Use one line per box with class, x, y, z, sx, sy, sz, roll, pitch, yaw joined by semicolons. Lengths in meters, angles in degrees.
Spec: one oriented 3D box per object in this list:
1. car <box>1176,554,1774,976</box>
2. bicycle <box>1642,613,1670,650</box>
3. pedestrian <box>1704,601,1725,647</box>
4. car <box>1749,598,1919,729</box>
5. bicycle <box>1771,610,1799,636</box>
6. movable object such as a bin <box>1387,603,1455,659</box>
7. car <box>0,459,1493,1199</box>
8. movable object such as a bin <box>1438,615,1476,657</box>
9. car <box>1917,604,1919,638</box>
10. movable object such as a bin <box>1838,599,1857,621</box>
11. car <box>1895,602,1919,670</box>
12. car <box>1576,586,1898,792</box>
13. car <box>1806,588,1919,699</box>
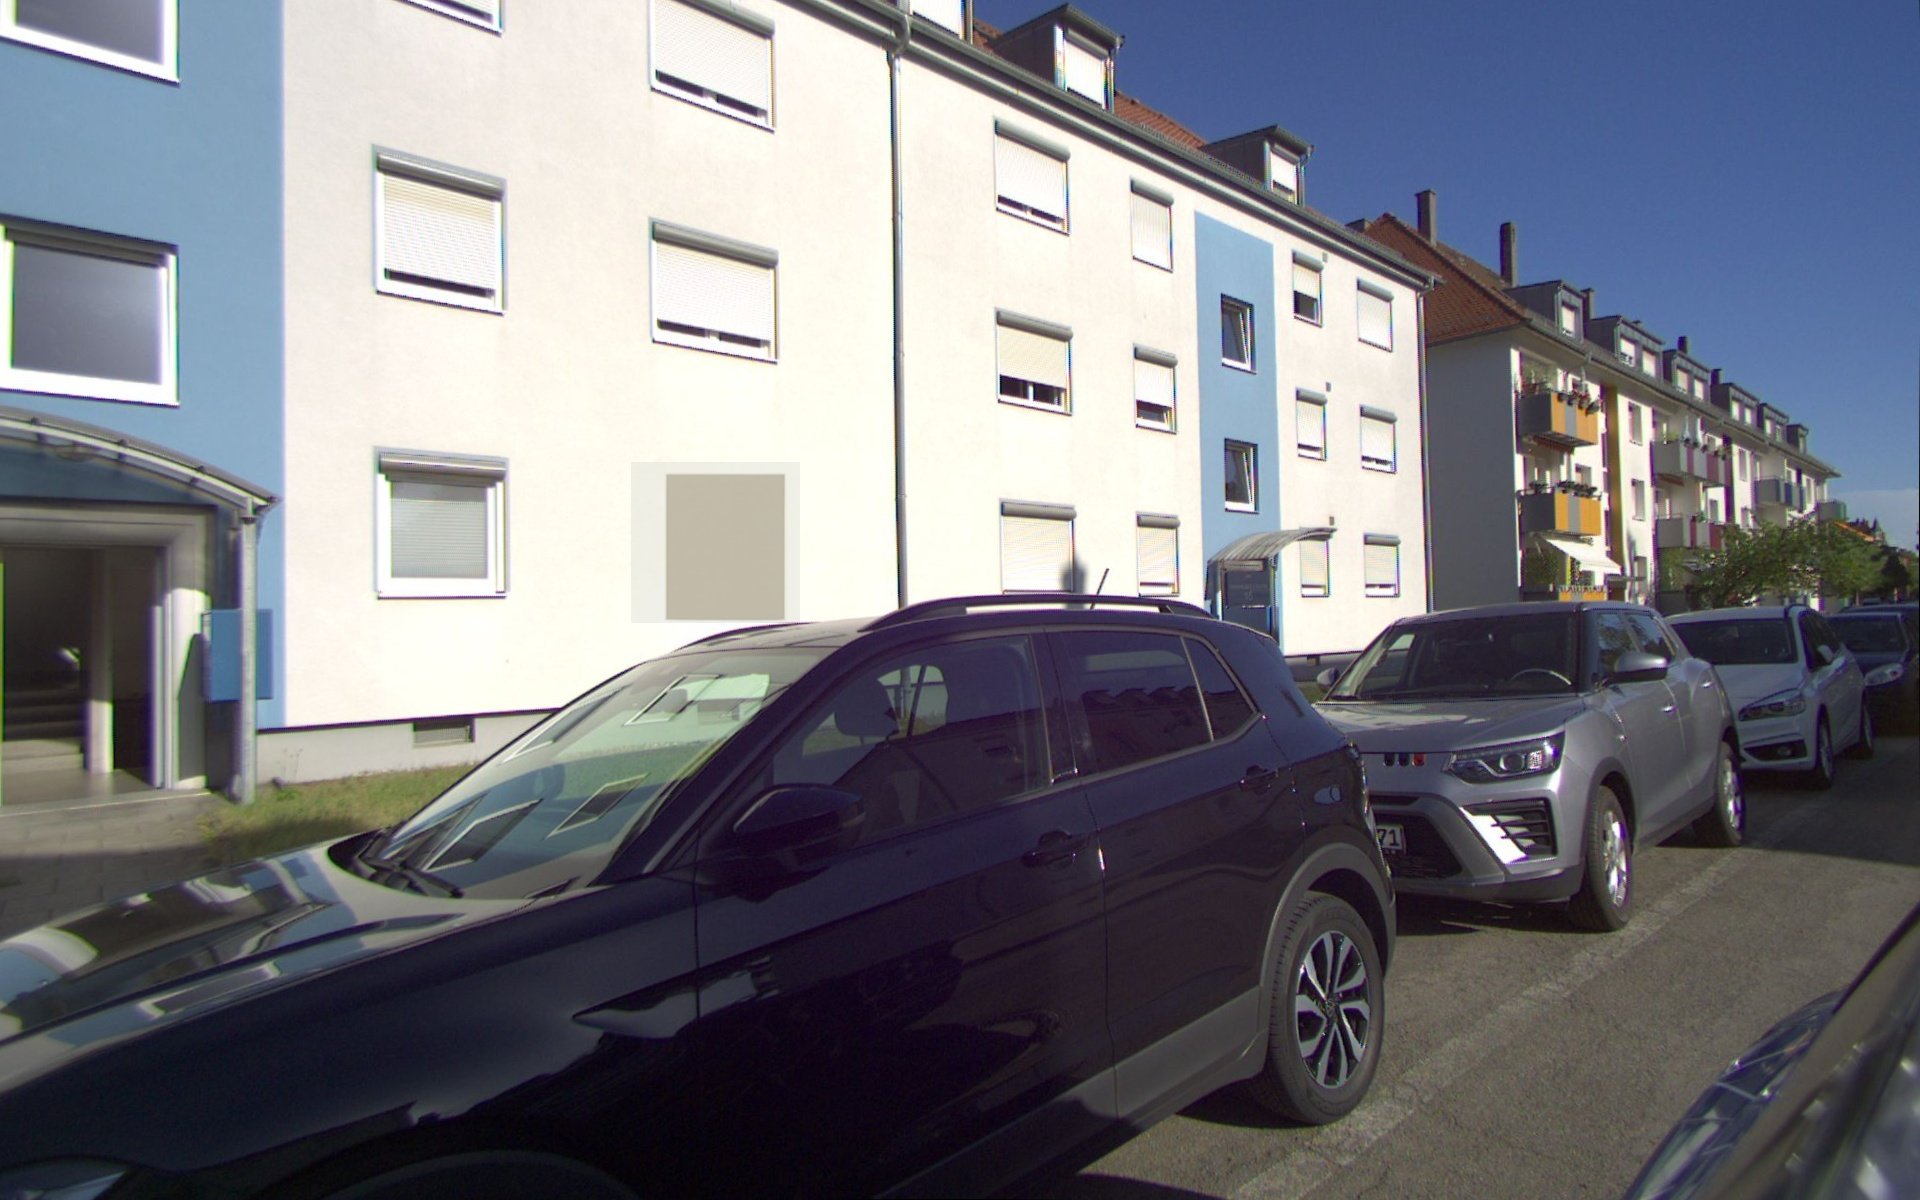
car;3.344;0.698;6.101;4.377;1.639;1.751;0;-4;-43
bicycle;22.045;0.990;32.064;1.250;1.147;0.404;0;-2;-41
pedestrian;24.861;0.789;33.361;0.354;1.514;0.451;-2;0;-40
car;12.184;0.752;13.616;4.083;1.518;1.644;0;-1;-40
bicycle;35.071;0.956;43.021;2.248;1.062;0.521;0;0;-41
movable object such as a bin;12.506;0.808;27.458;1.087;1.424;1.330;-3;1;-40
car;-0.330;0.698;2.801;4.321;1.616;1.714;0;-3;-41
movable object such as a bin;13.089;0.940;26.640;0.744;1.047;0.644;-3;1;-40
car;26.460;0.822;26.471;3.916;1.511;1.695;0;-4;-42
movable object such as a bin;61.406;0.697;69.991;0.906;1.539;0.865;0;-1;-42
car;23.305;0.793;23.706;2.886;1.549;1.483;0;-4;-37
car;7.763;0.731;9.943;4.358;1.595;1.692;0;-3;-42
car;15.895;0.678;16.985;4.389;1.670;1.786;0;-3;-40
